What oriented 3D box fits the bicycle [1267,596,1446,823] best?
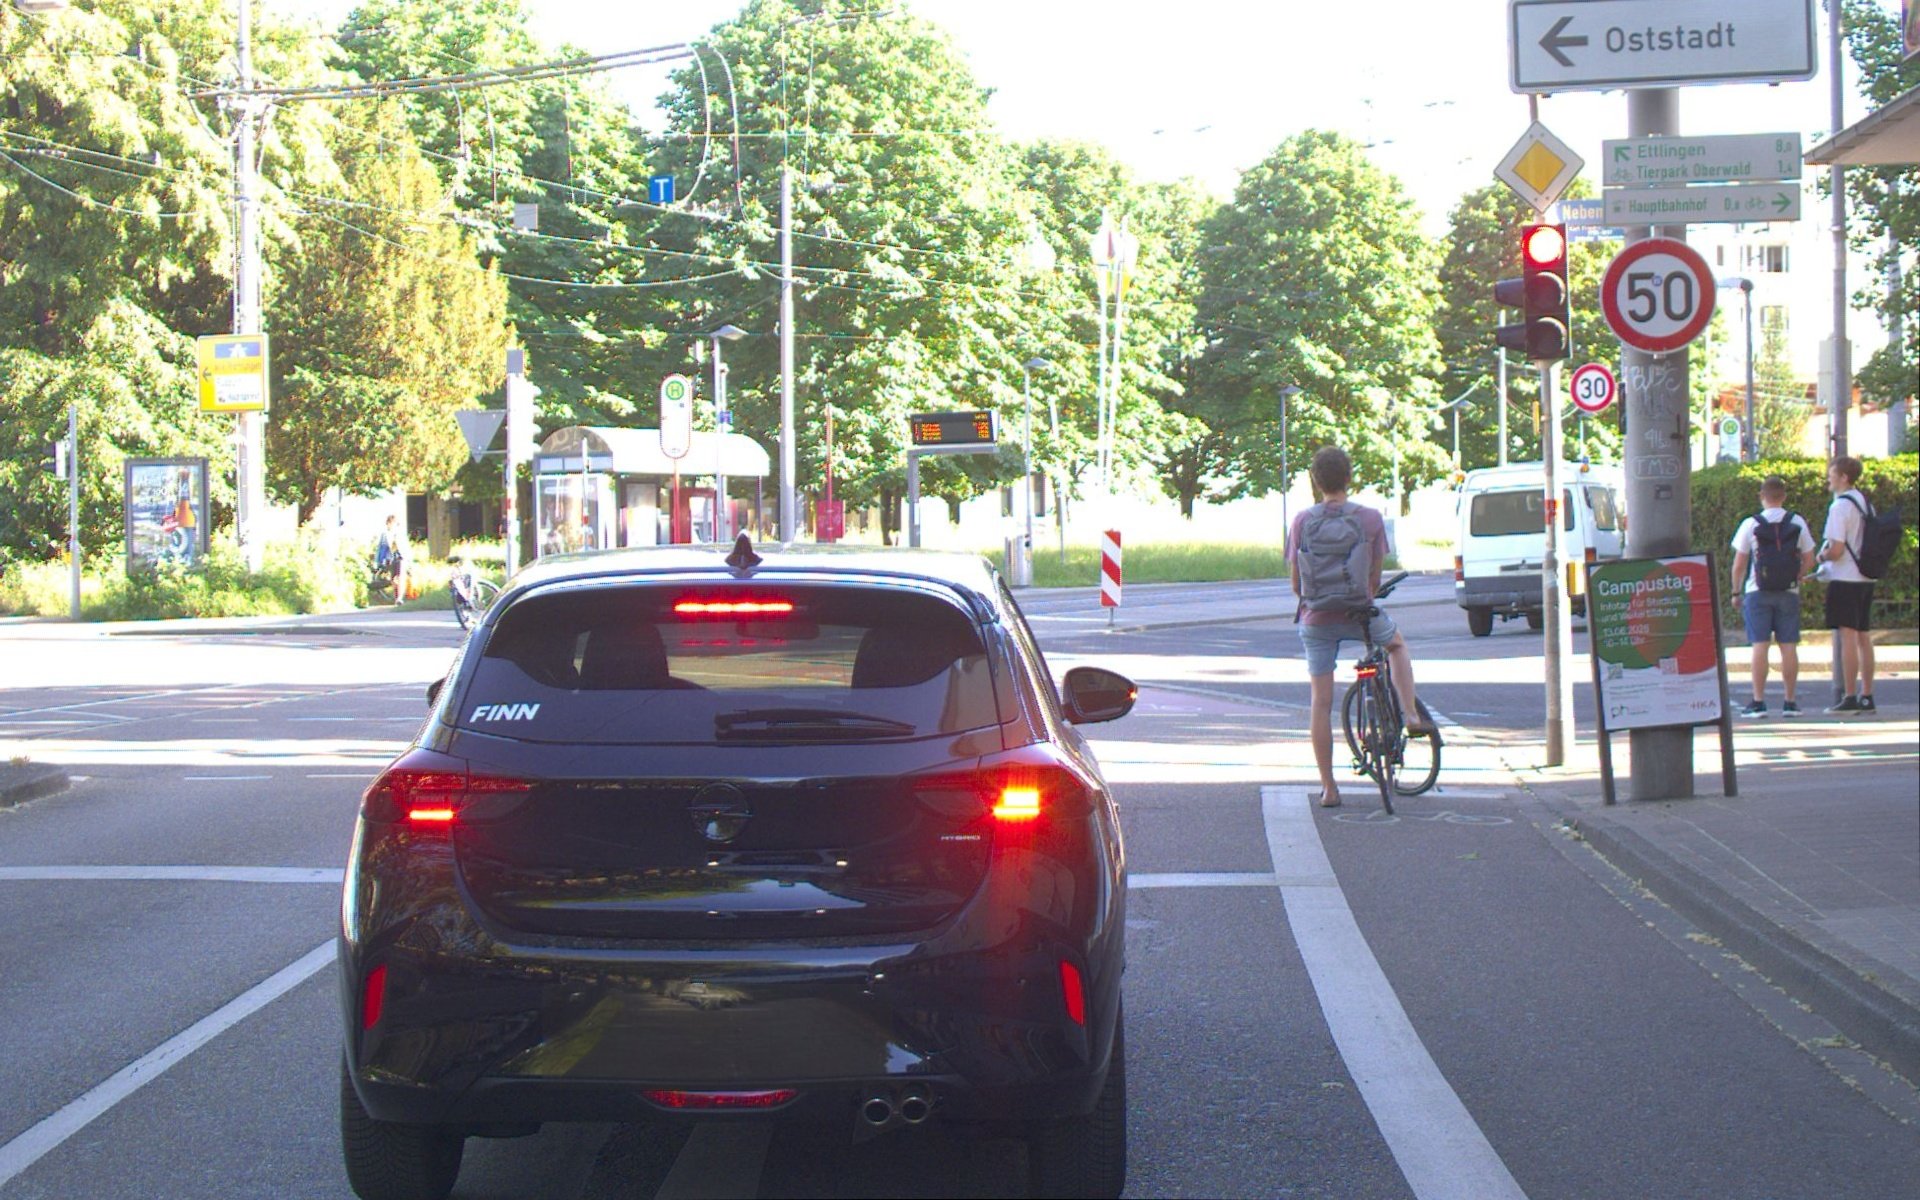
[{"bbox_3d":[2.034,0.537,17.868,0.667,1.056,2.082,0,1,-1],"label":"bicycle"}]

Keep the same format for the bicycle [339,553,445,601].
[{"bbox_3d":[-10.854,-0.441,65.683,1.877,0.903,0.659,0,1,7],"label":"bicycle"}]

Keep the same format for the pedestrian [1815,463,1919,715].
[{"bbox_3d":[6.832,-0.091,25.526,0.704,1.840,0.699,0,2,39],"label":"pedestrian"}]

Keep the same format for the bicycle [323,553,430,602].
[{"bbox_3d":[-10.993,-0.434,64.812,1.877,0.903,0.659,0,1,7],"label":"bicycle"}]

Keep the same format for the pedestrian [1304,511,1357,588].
[{"bbox_3d":[8.687,-1.183,80.606,0.959,1.786,0.994,0,1,25],"label":"pedestrian"}]

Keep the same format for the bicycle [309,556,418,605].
[{"bbox_3d":[-11.077,-0.365,63.828,1.877,0.903,0.659,0,1,7],"label":"bicycle"}]

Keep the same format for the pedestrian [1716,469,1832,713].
[{"bbox_3d":[6.036,-0.075,25.516,0.698,1.786,0.617,-1,1,-1],"label":"pedestrian"}]

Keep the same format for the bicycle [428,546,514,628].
[{"bbox_3d":[-6.615,-0.189,46.621,0.825,1.056,1.883,0,1,2],"label":"bicycle"}]

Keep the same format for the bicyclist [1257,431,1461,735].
[{"bbox_3d":[2.044,-0.102,17.769,0.840,1.504,1.369,0,1,-2],"label":"bicyclist"}]

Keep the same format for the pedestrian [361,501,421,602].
[{"bbox_3d":[-9.528,-0.816,57.608,0.726,1.687,0.700,0,1,18],"label":"pedestrian"}]

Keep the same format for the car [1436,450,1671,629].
[{"bbox_3d":[7.994,-0.789,46.010,2.092,2.270,4.301,1,1,24],"label":"car"}]

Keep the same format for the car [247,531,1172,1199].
[{"bbox_3d":[-0.458,0.563,8.698,1.800,1.436,3.940,-1,1,1],"label":"car"}]
